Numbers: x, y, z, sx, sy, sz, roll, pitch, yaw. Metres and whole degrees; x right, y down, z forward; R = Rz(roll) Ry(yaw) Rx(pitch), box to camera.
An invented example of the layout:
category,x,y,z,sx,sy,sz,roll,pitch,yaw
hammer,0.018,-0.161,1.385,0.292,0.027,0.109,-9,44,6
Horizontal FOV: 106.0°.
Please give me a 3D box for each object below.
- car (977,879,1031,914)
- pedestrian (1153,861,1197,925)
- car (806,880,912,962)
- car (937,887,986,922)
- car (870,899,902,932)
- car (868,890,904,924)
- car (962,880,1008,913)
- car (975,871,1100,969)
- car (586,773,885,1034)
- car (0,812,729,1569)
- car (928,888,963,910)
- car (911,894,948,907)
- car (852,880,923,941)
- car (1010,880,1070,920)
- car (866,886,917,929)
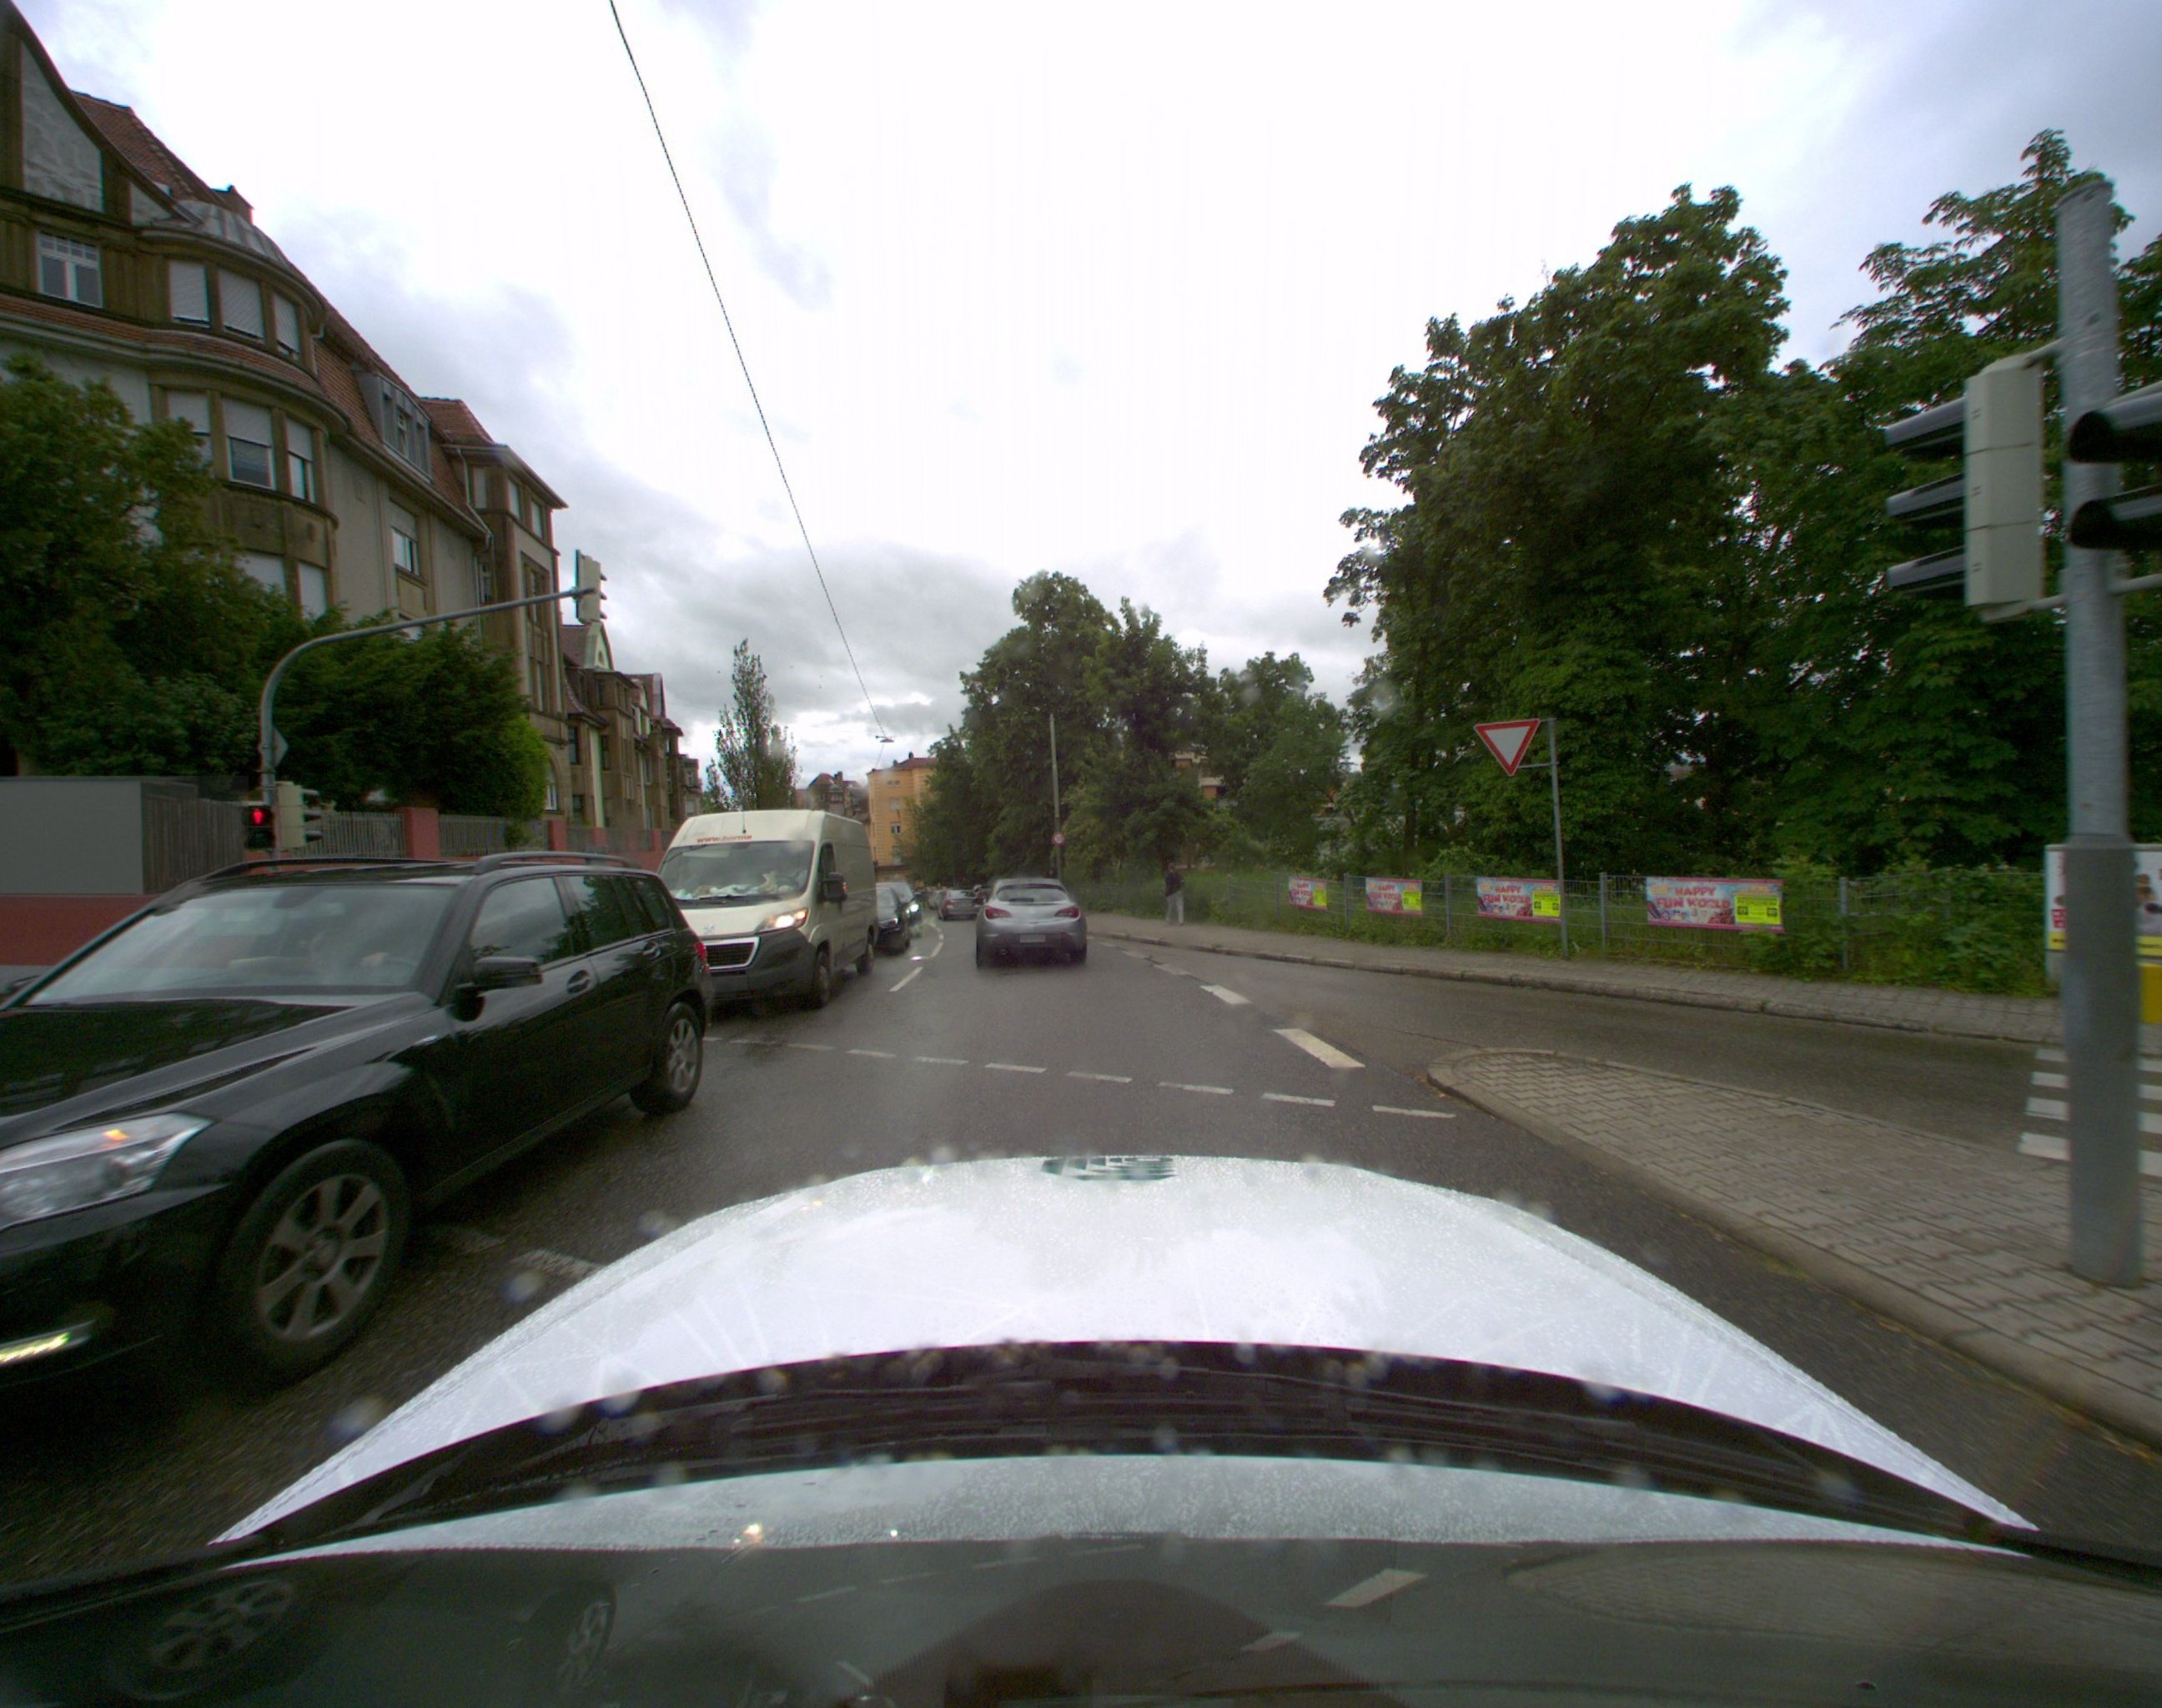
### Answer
category,x,y,z,sx,sy,sz,roll,pitch,yaw
car,-4.156,2.300,43.329,1.821,1.494,3.974,-8,-1,-19
pedestrian,2.521,1.044,21.956,0.766,1.605,0.961,-5,-2,-13
car,-4.684,1.371,17.676,1.816,1.430,3.984,-4,-2,-11
car,-5.572,2.325,37.549,1.779,1.430,3.765,-2,-3,-15
car,-9.574,2.988,39.948,1.385,1.412,3.439,-2,-2,-14
car,-10.125,2.717,42.335,1.657,1.568,3.980,-2,-2,-14
car,-5.829,2.534,48.900,1.825,1.683,4.776,-5,-1,-16
car,-0.934,1.069,14.754,1.814,1.430,3.987,-2,-1,-9
car,-4.203,0.584,11.129,2.115,2.546,5.526,-3,-2,-6
car,-3.367,0.794,3.861,1.819,1.652,4.337,-2,-1,-6
car,-10.549,3.489,63.221,1.982,1.452,4.086,-5,-2,-19
car,-17.181,5.322,92.373,3.791,1.430,1.767,2,-5,-25
car,-5.916,1.671,25.008,1.877,1.575,4.564,-3,-2,-13
car,-1.742,1.891,33.573,1.652,1.404,3.793,-5,-2,-14
car,-7.417,2.045,31.777,1.776,1.497,4.241,-1,-3,-14
